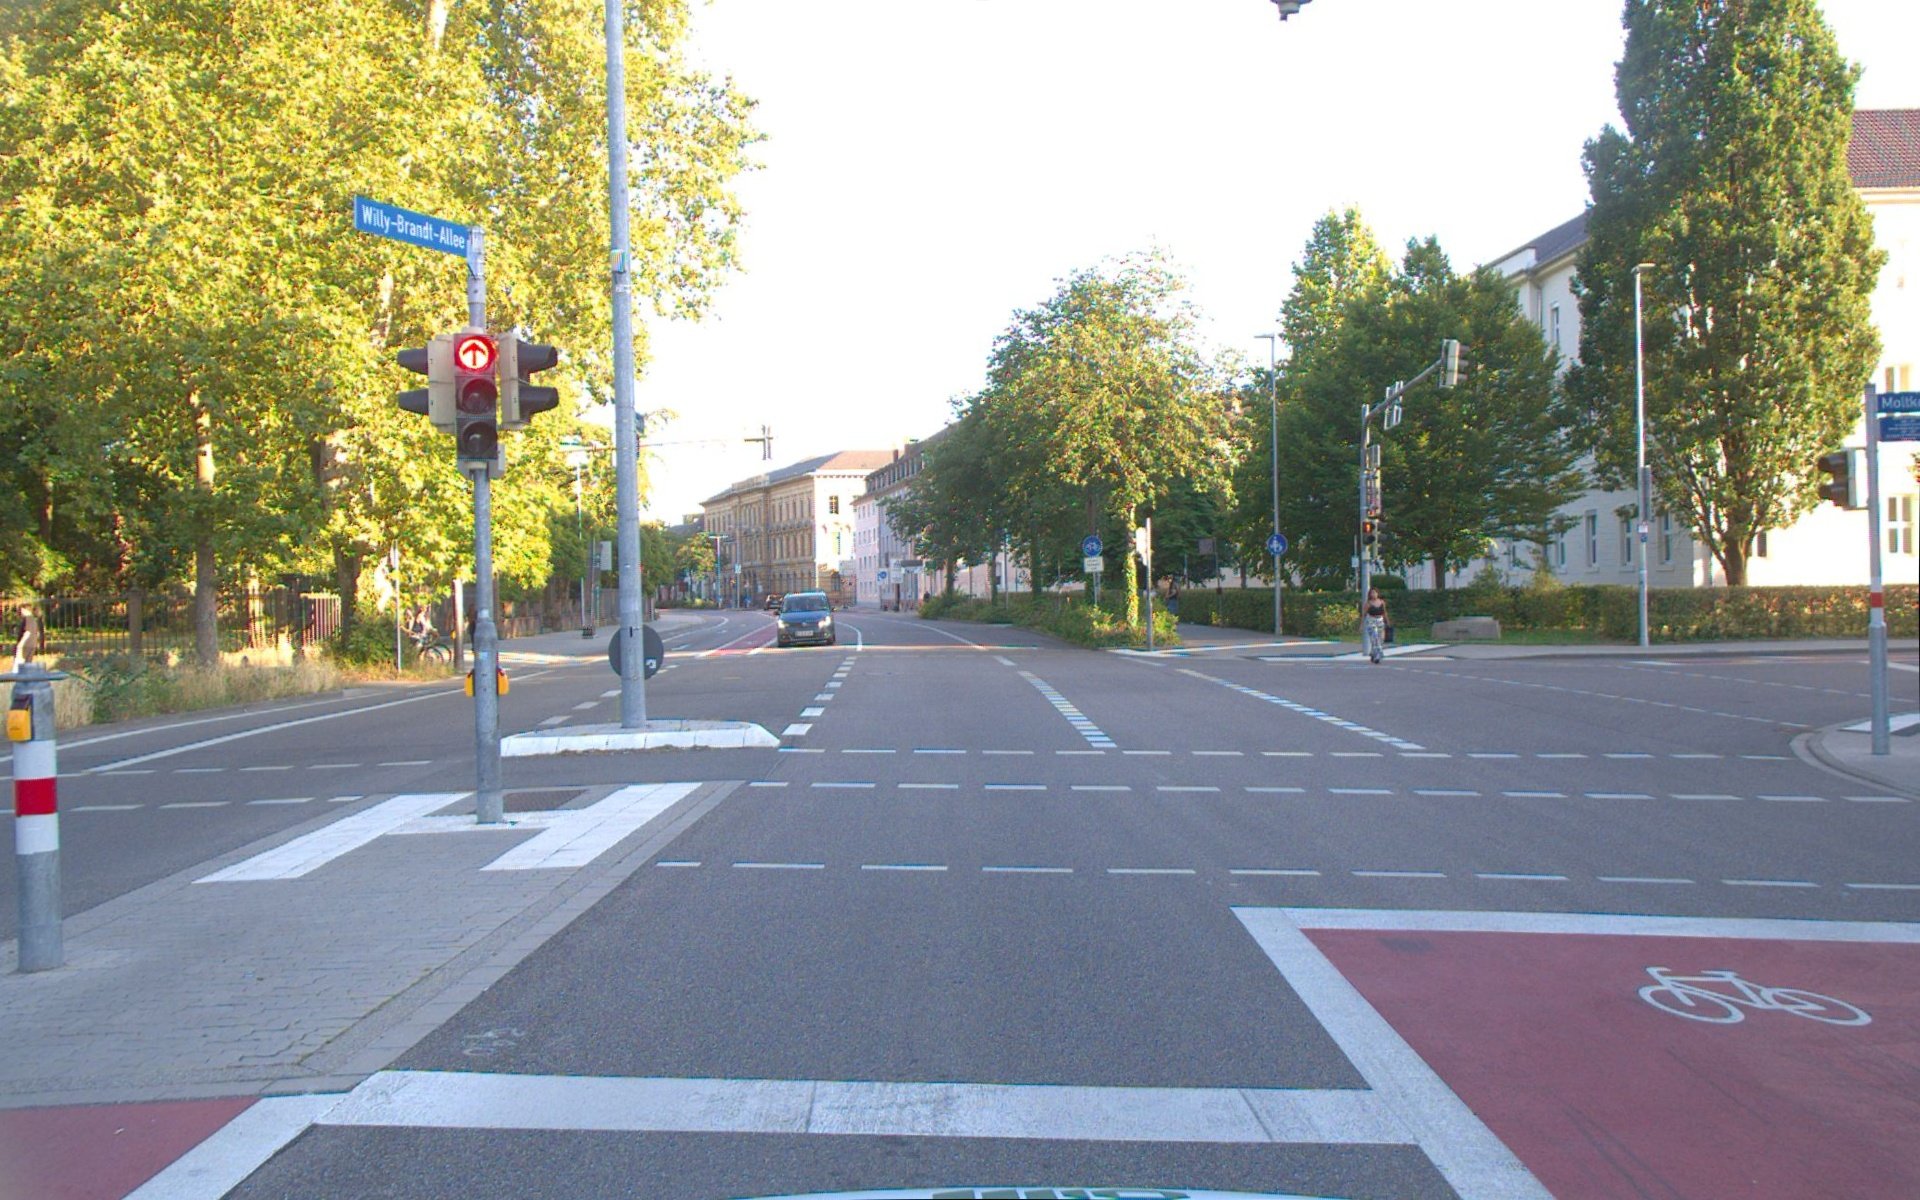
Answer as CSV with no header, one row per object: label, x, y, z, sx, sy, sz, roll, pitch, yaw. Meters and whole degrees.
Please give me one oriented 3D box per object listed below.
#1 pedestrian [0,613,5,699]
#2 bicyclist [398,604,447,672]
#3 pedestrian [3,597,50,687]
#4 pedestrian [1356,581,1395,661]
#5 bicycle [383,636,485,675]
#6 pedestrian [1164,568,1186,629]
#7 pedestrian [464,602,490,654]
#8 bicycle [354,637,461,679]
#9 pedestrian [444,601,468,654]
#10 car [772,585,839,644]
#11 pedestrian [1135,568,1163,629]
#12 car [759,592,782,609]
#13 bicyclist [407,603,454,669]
pedestrian,-23.274,1.340,39.182,0.745,2.049,1.076,0,0,-6
bicyclist,-13.364,0.936,41.171,0.938,1.659,0.753,-1,0,0
pedestrian,-21.680,0.974,38.417,0.626,2.049,0.702,-1,0,8
pedestrian,8.657,0.429,34.488,0.588,1.664,0.691,0,1,-5
bicycle,-13.618,1.429,42.860,2.380,0.940,0.775,-1,0,0
pedestrian,7.302,-0.058,56.193,0.622,2.049,0.720,0,0,-5
pedestrian,-14.944,0.858,51.191,0.587,1.601,0.646,-1,0,-1
bicycle,-13.728,1.442,41.165,2.380,0.940,0.775,-1,0,0
pedestrian,-15.635,0.861,51.338,0.524,1.624,0.590,-1,0,-1
car,-4.853,0.435,52.521,1.812,1.750,4.294,-1,0,-2
pedestrian,6.352,-0.058,55.582,0.852,2.049,0.722,0,0,-1
car,-19.498,0.026,170.435,1.789,1.616,3.984,-2,1,-15
bicyclist,-13.715,0.933,42.872,0.938,1.659,0.753,-1,0,0
